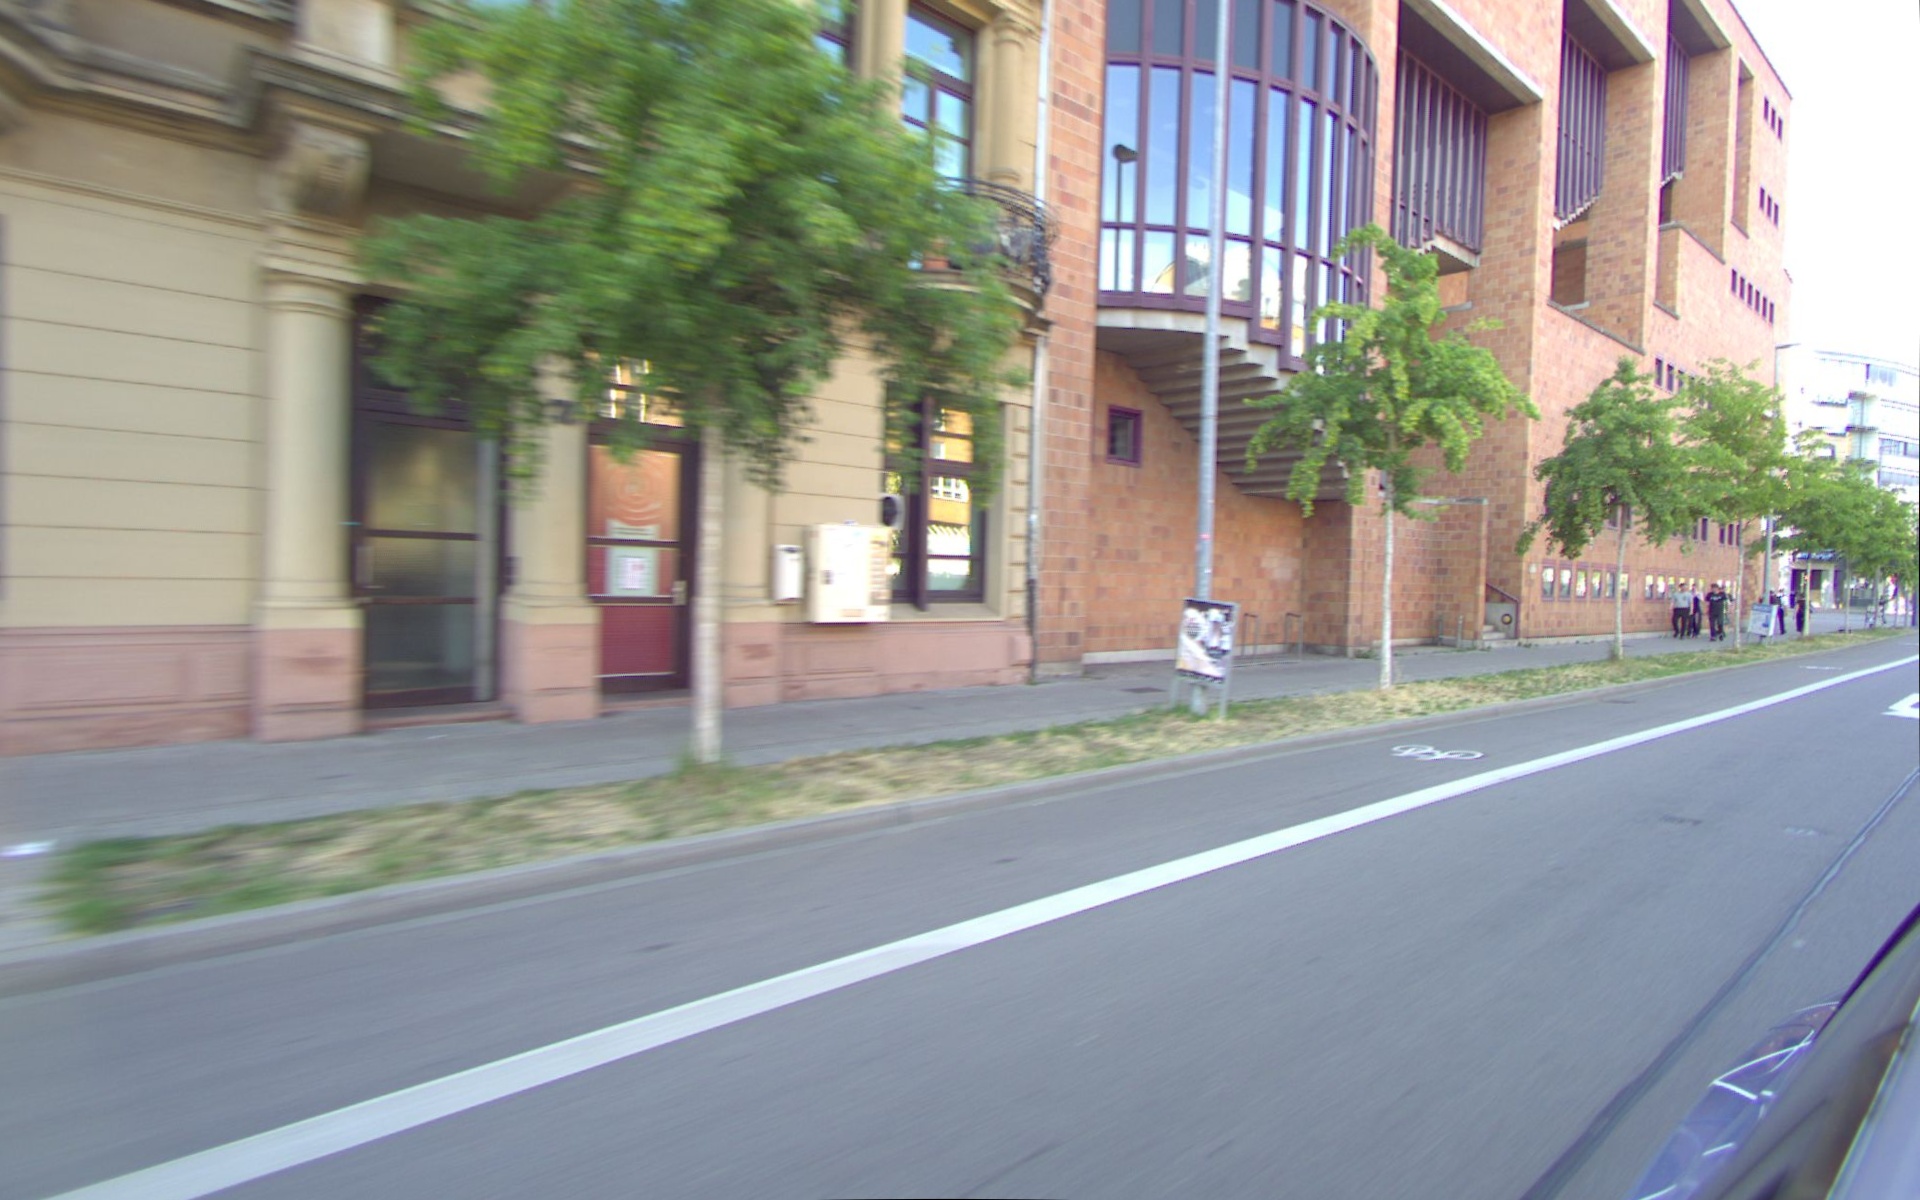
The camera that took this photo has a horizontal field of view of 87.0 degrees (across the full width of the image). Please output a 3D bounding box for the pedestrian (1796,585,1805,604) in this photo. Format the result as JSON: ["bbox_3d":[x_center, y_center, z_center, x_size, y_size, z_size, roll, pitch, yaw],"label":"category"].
[{"bbox_3d":[79.953,-0.529,96.279,0.543,1.846,0.369,2,2,36],"label":"pedestrian"}]

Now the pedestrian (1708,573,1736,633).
[{"bbox_3d":[23.128,0.089,30.711,0.533,1.778,0.460,2,2,27],"label":"pedestrian"}]

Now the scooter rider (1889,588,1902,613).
[{"bbox_3d":[56.284,0.023,60.875,0.505,1.479,0.711,3,2,40],"label":"scooter rider"}]

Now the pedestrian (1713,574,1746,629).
[{"bbox_3d":[25.431,0.031,33.442,0.733,1.778,0.684,3,2,44],"label":"pedestrian"}]

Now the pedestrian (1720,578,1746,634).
[{"bbox_3d":[24.677,0.180,32.326,0.534,1.778,0.687,2,2,33],"label":"pedestrian"}]

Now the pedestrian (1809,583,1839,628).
[{"bbox_3d":[31.563,0.198,36.987,0.510,1.625,0.702,2,2,12],"label":"pedestrian"}]

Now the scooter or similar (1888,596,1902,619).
[{"bbox_3d":[56.316,0.434,60.956,0.527,1.334,1.116,3,2,41],"label":"scooter or similar"}]

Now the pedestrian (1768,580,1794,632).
[{"bbox_3d":[28.955,0.206,35.704,0.530,1.778,0.420,2,1,14],"label":"pedestrian"}]

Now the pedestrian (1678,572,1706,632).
[{"bbox_3d":[22.393,0.054,30.965,0.532,1.778,0.419,2,1,22],"label":"pedestrian"}]

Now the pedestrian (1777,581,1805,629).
[{"bbox_3d":[30.631,0.173,37.310,0.565,1.734,0.637,2,2,18],"label":"pedestrian"}]

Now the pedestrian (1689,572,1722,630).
[{"bbox_3d":[23.452,0.028,31.842,0.681,1.778,0.539,1,2,-31],"label":"pedestrian"}]
